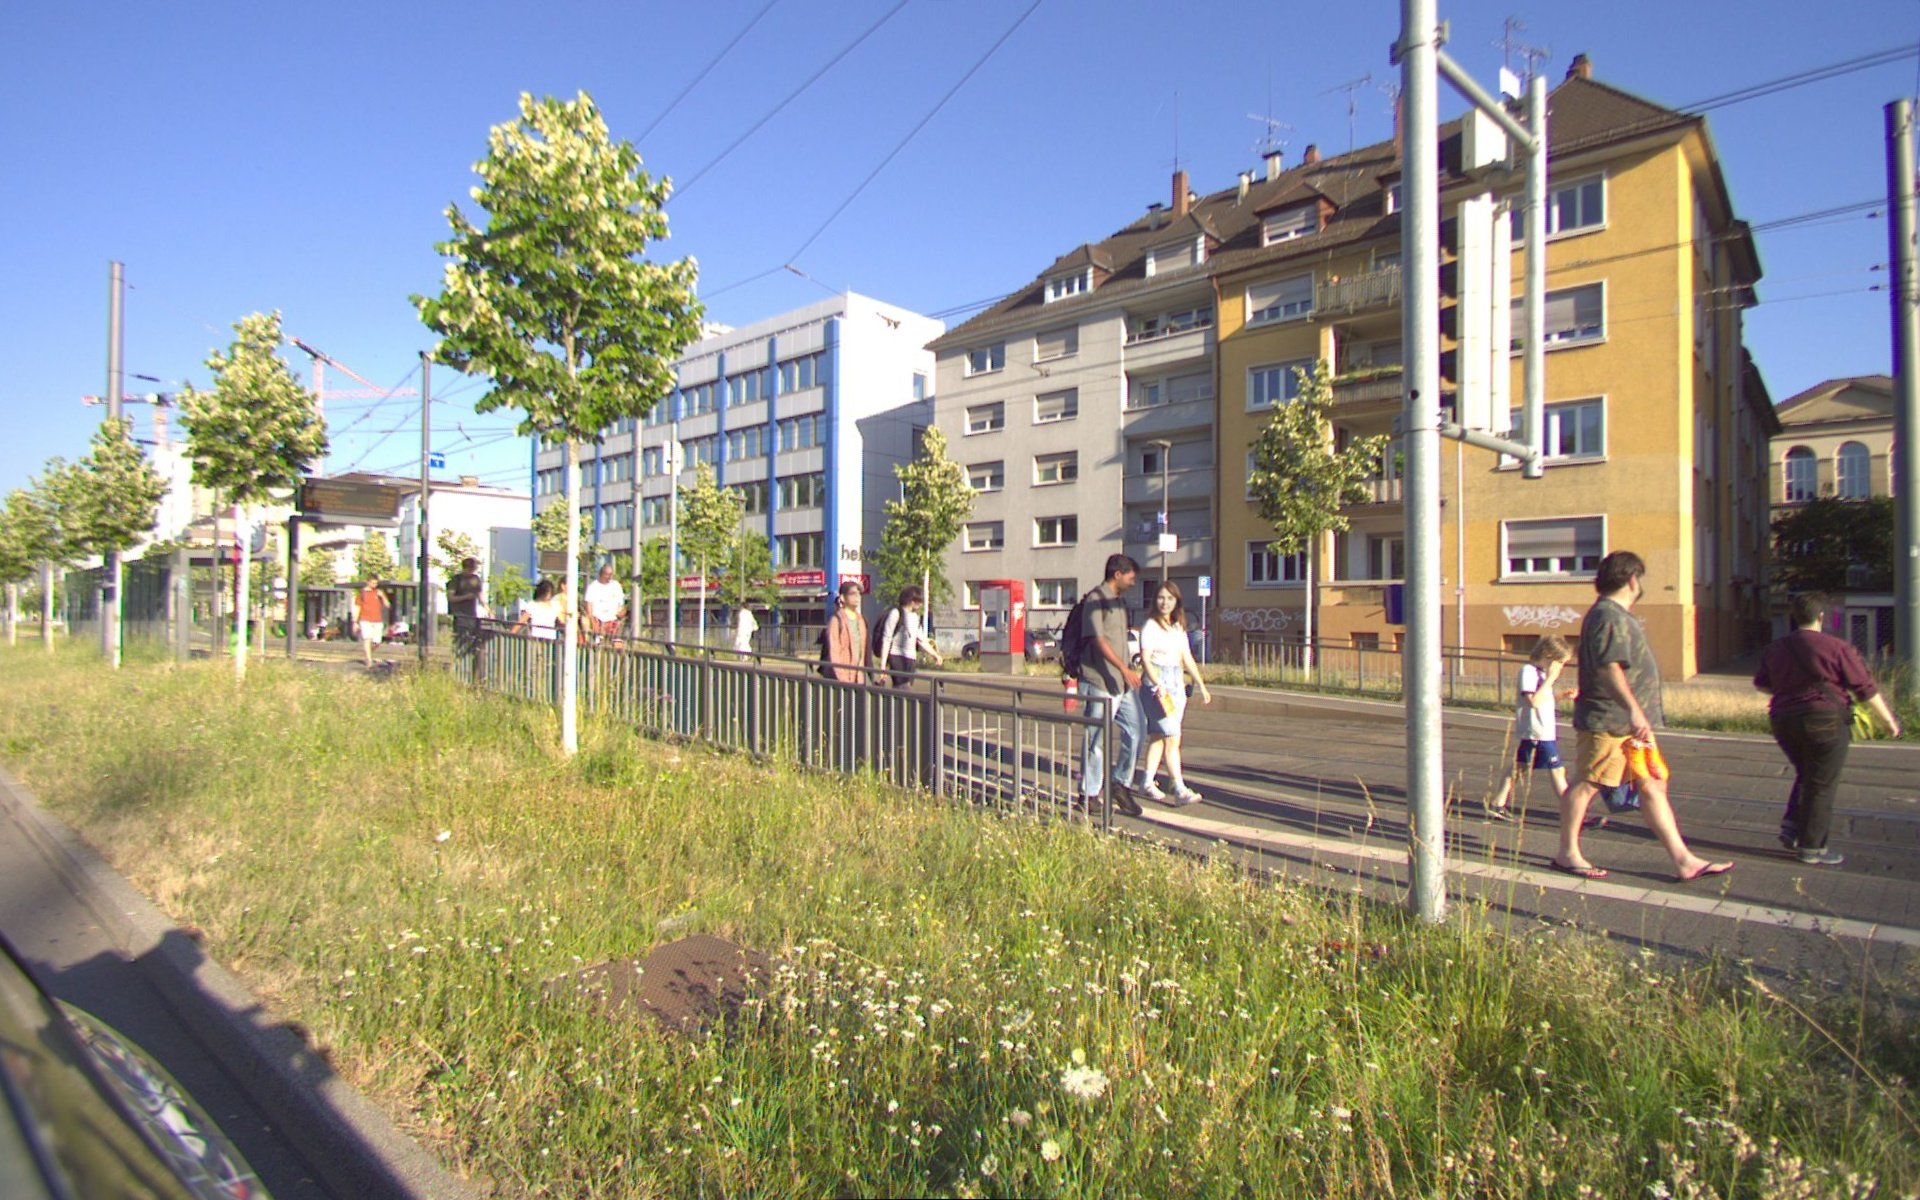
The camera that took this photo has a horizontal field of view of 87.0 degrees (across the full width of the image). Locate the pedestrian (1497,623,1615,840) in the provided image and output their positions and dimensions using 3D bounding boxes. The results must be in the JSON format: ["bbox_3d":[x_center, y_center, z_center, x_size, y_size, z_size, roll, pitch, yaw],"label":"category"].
[{"bbox_3d":[4.046,0.856,6.871,0.607,1.371,0.588,-1,-4,39],"label":"pedestrian"}]

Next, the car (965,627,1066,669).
[{"bbox_3d":[2.199,1.860,40.465,3.672,1.519,1.861,-1,0,41],"label":"car"}]

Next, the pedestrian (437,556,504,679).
[{"bbox_3d":[-7.696,0.266,15.909,0.620,1.878,0.776,-1,0,44],"label":"pedestrian"}]

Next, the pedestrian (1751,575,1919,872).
[{"bbox_3d":[5.109,0.667,5.869,0.787,1.600,0.600,-1,0,38],"label":"pedestrian"}]

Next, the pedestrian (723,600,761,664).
[{"bbox_3d":[-5.908,0.862,27.411,0.620,1.685,0.776,-1,0,44],"label":"pedestrian"}]

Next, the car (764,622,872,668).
[{"bbox_3d":[-5.320,1.625,37.581,3.941,1.519,1.861,-1,0,41],"label":"car"}]

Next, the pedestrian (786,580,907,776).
[{"bbox_3d":[-0.949,0.614,8.488,0.776,1.547,0.620,-1,0,-45],"label":"pedestrian"}]

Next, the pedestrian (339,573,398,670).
[{"bbox_3d":[-10.773,0.382,18.436,0.620,1.711,0.776,-1,0,44],"label":"pedestrian"}]

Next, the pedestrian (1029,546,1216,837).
[{"bbox_3d":[1.115,0.564,6.990,0.900,1.814,0.777,6,4,42],"label":"pedestrian"}]

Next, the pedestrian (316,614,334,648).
[{"bbox_3d":[-31.898,1.558,50.838,0.650,1.705,0.773,-1,0,-43],"label":"pedestrian"}]

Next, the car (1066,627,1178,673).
[{"bbox_3d":[5.941,1.810,37.361,3.672,1.519,1.861,-1,0,41],"label":"car"}]

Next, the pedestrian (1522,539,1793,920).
[{"bbox_3d":[3.616,0.602,5.287,0.763,1.771,0.903,-1,0,-29],"label":"pedestrian"}]

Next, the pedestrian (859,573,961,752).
[{"bbox_3d":[-0.480,0.576,9.869,0.619,1.653,0.778,-1,0,39],"label":"pedestrian"}]

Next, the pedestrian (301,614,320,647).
[{"bbox_3d":[-33.608,1.580,52.383,0.772,1.705,0.651,-1,0,44],"label":"pedestrian"}]

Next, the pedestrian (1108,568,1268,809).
[{"bbox_3d":[1.701,0.606,7.538,0.899,1.653,0.778,-1,0,39],"label":"pedestrian"}]

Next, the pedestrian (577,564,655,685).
[{"bbox_3d":[-4.605,0.317,13.547,0.620,1.560,0.776,-1,0,44],"label":"pedestrian"}]

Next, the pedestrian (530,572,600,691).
[{"bbox_3d":[-4.912,0.378,12.595,0.525,1.442,0.629,-1,0,42],"label":"pedestrian"}]

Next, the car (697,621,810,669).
[{"bbox_3d":[-7.211,1.518,35.132,3.941,1.519,1.861,-1,0,41],"label":"car"}]

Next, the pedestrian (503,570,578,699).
[{"bbox_3d":[-4.924,0.390,11.883,0.524,1.467,0.629,-1,0,41],"label":"pedestrian"}]

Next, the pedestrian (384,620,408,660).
[{"bbox_3d":[-24.571,1.738,44.100,0.771,1.705,0.651,-1,0,39],"label":"pedestrian"}]
